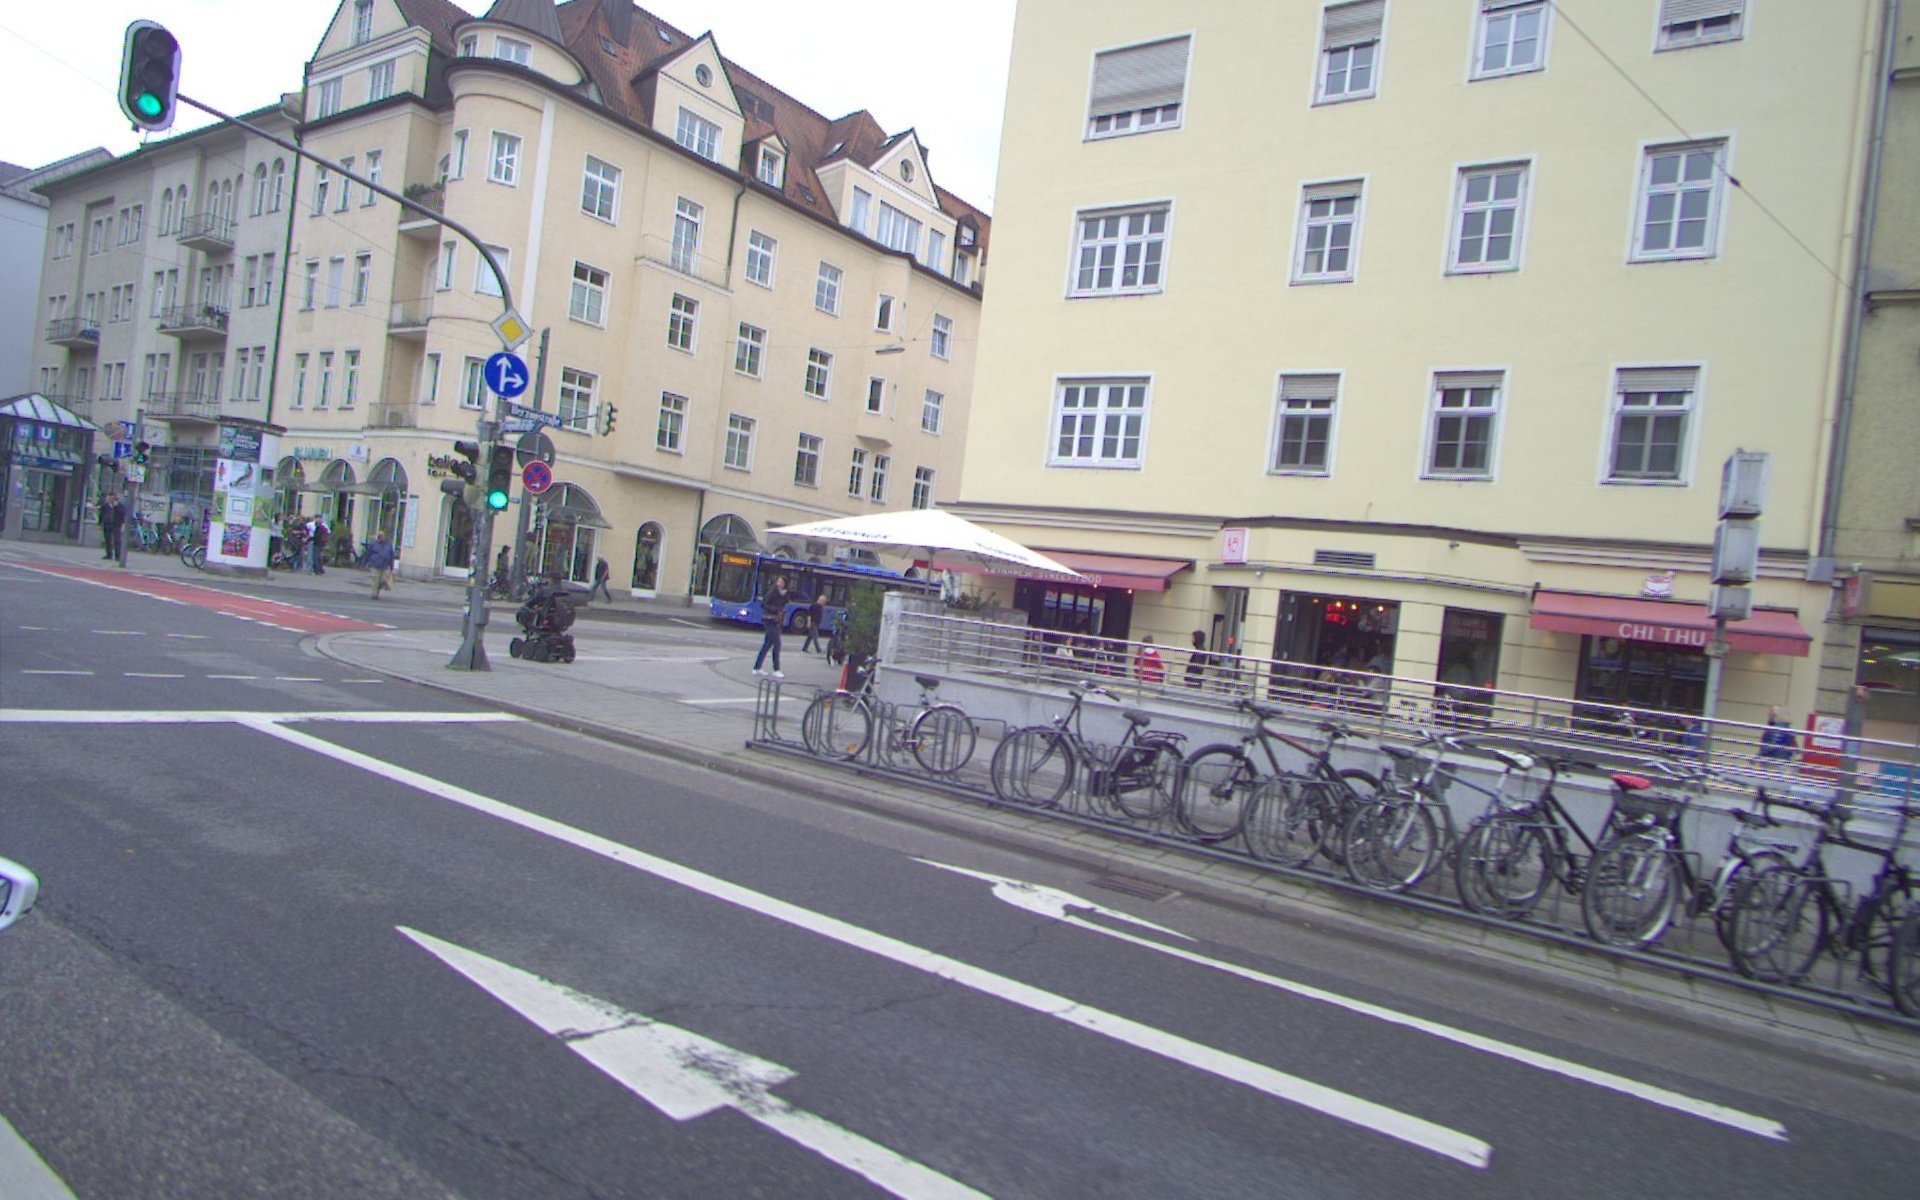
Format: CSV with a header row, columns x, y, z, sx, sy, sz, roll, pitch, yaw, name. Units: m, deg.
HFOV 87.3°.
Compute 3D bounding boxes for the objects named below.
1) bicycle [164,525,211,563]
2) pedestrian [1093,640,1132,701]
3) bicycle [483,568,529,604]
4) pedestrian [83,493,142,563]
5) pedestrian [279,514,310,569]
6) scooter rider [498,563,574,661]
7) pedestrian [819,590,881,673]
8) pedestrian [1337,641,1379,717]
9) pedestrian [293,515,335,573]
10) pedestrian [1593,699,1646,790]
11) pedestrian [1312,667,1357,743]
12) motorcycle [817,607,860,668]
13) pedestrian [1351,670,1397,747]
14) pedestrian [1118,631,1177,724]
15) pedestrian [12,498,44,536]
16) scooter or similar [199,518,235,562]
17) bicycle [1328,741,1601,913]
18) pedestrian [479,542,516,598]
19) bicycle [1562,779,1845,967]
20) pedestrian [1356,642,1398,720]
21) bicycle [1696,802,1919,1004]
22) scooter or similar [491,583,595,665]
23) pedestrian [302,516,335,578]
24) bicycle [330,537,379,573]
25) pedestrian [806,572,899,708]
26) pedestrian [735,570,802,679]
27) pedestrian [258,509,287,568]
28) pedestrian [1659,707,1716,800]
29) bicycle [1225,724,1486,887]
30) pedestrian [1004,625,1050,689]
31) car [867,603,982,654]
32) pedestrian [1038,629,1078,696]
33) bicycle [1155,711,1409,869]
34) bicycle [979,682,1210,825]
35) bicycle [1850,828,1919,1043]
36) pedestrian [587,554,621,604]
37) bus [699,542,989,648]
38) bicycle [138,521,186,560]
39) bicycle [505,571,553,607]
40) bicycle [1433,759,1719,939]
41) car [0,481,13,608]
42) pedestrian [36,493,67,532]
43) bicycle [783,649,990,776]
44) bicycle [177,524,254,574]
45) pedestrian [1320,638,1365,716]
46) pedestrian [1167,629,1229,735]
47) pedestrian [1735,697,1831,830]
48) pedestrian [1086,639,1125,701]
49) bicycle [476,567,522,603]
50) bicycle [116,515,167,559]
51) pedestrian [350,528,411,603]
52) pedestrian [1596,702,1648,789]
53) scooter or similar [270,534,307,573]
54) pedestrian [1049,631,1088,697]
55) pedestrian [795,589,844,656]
x,y,z,sx,sy,sz,roll,pitch,yaw,name
-24.010,-1.739,31.266,1.835,0.987,0.495,7,1,32,bicycle
3.143,1.455,20.726,0.518,1.180,0.479,7,1,30,pedestrian
-14.450,-0.436,32.078,0.244,1.046,1.584,7,0,18,bicycle
-22.426,-1.893,26.639,0.825,1.712,0.815,6,1,-21,pedestrian
-20.894,-1.831,31.588,0.559,1.631,0.560,6,4,-45,pedestrian
-6.478,0.189,15.372,0.632,1.406,0.702,7,1,30,scooter rider
-2.239,0.650,20.575,0.874,1.560,0.732,7,1,17,pedestrian
7.847,1.563,19.842,0.543,1.414,0.541,7,0,32,pedestrian
-20.587,-1.766,32.053,0.720,1.727,0.645,9,3,2,pedestrian
10.235,2.237,15.632,0.543,1.305,0.495,7,1,32,pedestrian
6.908,1.929,18.563,0.543,1.305,0.541,7,1,32,pedestrian
-2.620,0.803,21.906,0.532,1.214,1.767,7,0,2,motorcycle
7.524,1.954,18.278,0.543,1.305,0.541,7,1,32,pedestrian
3.110,1.285,16.698,0.606,1.440,0.676,7,1,32,pedestrian
-40.858,-3.626,44.107,0.745,1.537,0.778,7,2,30,pedestrian
-23.443,-1.888,31.724,1.133,1.242,0.288,7,1,23,scooter or similar
3.452,1.558,6.871,1.813,1.008,0.347,6,1,-15,bicycle
-15.314,-1.000,33.329,0.736,1.707,0.679,11,4,41,pedestrian
4.577,1.681,6.171,1.815,1.008,0.346,6,1,-19,bicycle
7.938,1.545,19.145,0.481,1.414,0.509,7,1,37,pedestrian
5.118,1.744,5.807,1.815,1.008,0.346,6,1,-19,bicycle
-6.357,0.367,15.341,1.235,1.088,0.776,7,0,30,scooter or similar
-19.719,-1.635,30.917,0.645,1.774,0.630,7,4,-36,pedestrian
-21.622,-1.609,35.906,1.833,1.103,0.495,7,1,26,bicycle
-1.506,0.563,14.220,0.842,1.765,0.884,7,1,15,pedestrian
-3.240,0.416,17.079,0.753,1.716,0.761,7,1,7,pedestrian
-21.055,-1.873,30.797,0.562,1.693,0.556,7,4,-36,pedestrian
11.344,2.380,15.706,0.543,1.348,0.495,7,1,32,pedestrian
2.852,1.486,7.234,1.813,1.008,0.347,6,1,-15,bicycle
1.450,1.233,21.765,0.691,1.308,0.515,7,1,30,pedestrian
-1.270,1.075,37.179,1.869,1.439,3.979,7,-1,44,car
2.024,1.292,20.757,0.518,1.315,0.479,7,1,30,pedestrian
2.440,1.442,7.626,1.812,1.008,0.347,6,1,-12,bicycle
1.120,1.279,8.356,1.812,1.008,0.347,6,1,-14,bicycle
5.669,1.809,5.446,1.815,1.008,0.346,6,1,-19,bicycle
-13.140,-0.771,37.137,0.736,1.727,0.679,11,4,41,pedestrian
-4.314,0.009,42.627,2.776,3.004,13.537,9,1,42,bus
-24.357,-1.815,30.685,1.835,0.987,0.495,7,1,32,bicycle
-13.744,-0.331,32.108,0.350,1.046,1.584,7,0,18,bicycle
4.004,1.624,6.524,1.813,1.008,0.347,6,1,-15,bicycle
-11.049,-0.555,9.835,3.497,1.609,1.705,7,0,32,car
-41.434,-3.992,45.887,0.745,1.672,0.751,7,2,30,pedestrian
-0.688,1.061,9.444,1.812,1.008,0.347,6,1,-14,bicycle
-20.775,-1.415,28.108,0.516,1.175,1.568,9,2,35,bicycle
7.371,1.474,19.403,0.542,1.414,0.543,7,0,5,pedestrian
3.942,1.350,16.666,0.666,1.653,0.615,7,1,32,pedestrian
11.269,2.209,13.807,0.773,1.653,0.711,7,1,32,pedestrian
2.929,1.402,20.237,0.518,1.180,0.479,7,1,30,pedestrian
-14.703,-0.471,32.140,0.244,1.046,1.584,7,0,18,bicycle
-24.628,-1.904,30.267,1.835,1.121,0.567,7,1,32,bicycle
-15.126,-0.899,26.264,1.050,1.777,0.932,7,1,40,pedestrian
10.730,2.339,16.320,0.543,1.305,0.495,7,1,32,pedestrian
-20.365,-1.405,30.513,0.815,1.007,0.587,7,3,-36,scooter or similar
2.302,1.361,21.340,0.518,1.315,0.479,7,1,30,pedestrian
-3.610,0.575,25.830,0.756,1.605,0.758,7,1,36,pedestrian
